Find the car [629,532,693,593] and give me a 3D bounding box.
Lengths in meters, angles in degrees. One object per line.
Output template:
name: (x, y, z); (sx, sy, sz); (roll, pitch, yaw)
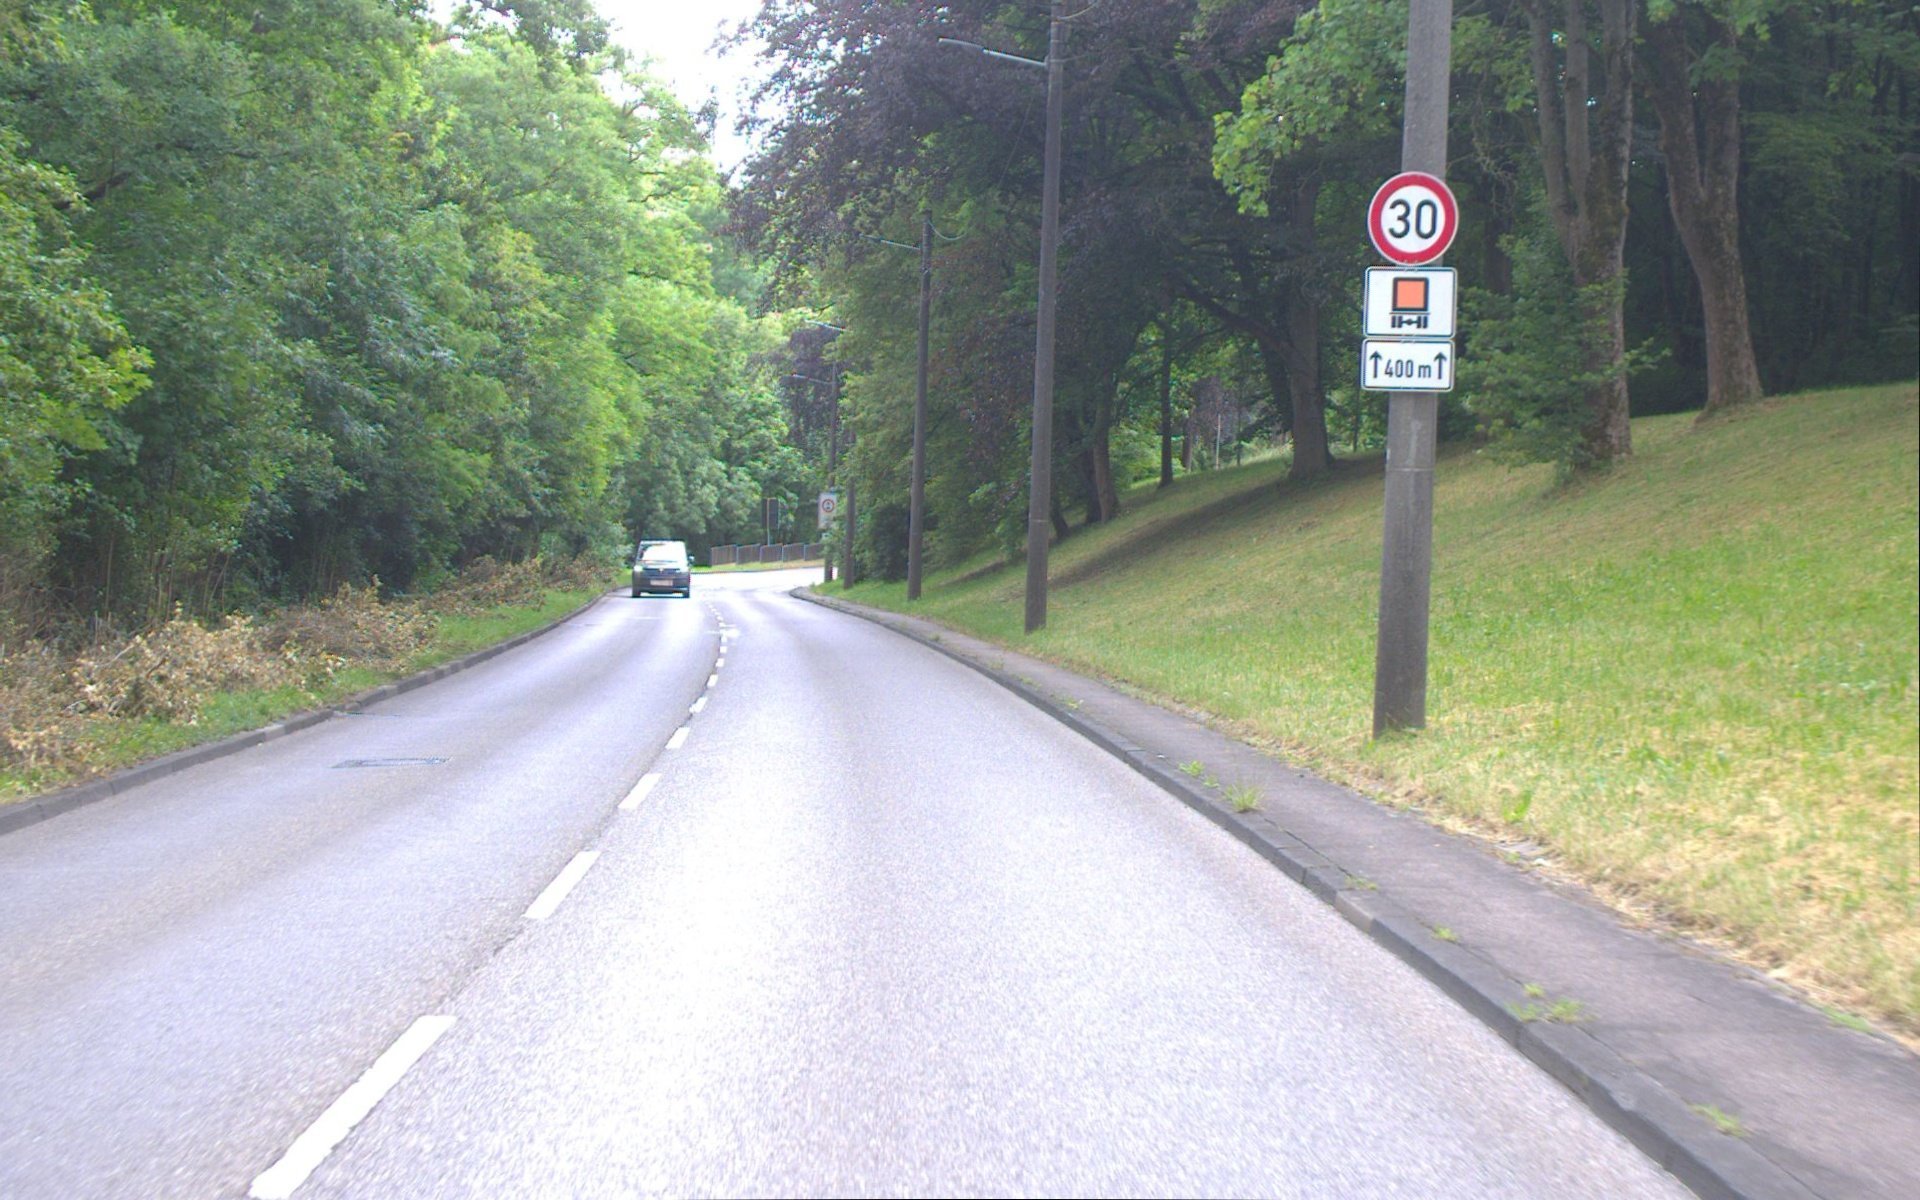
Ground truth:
car: (-9.930, -1.233, 114.283); (1.993, 1.941, 4.946); (1, 0, -4)
